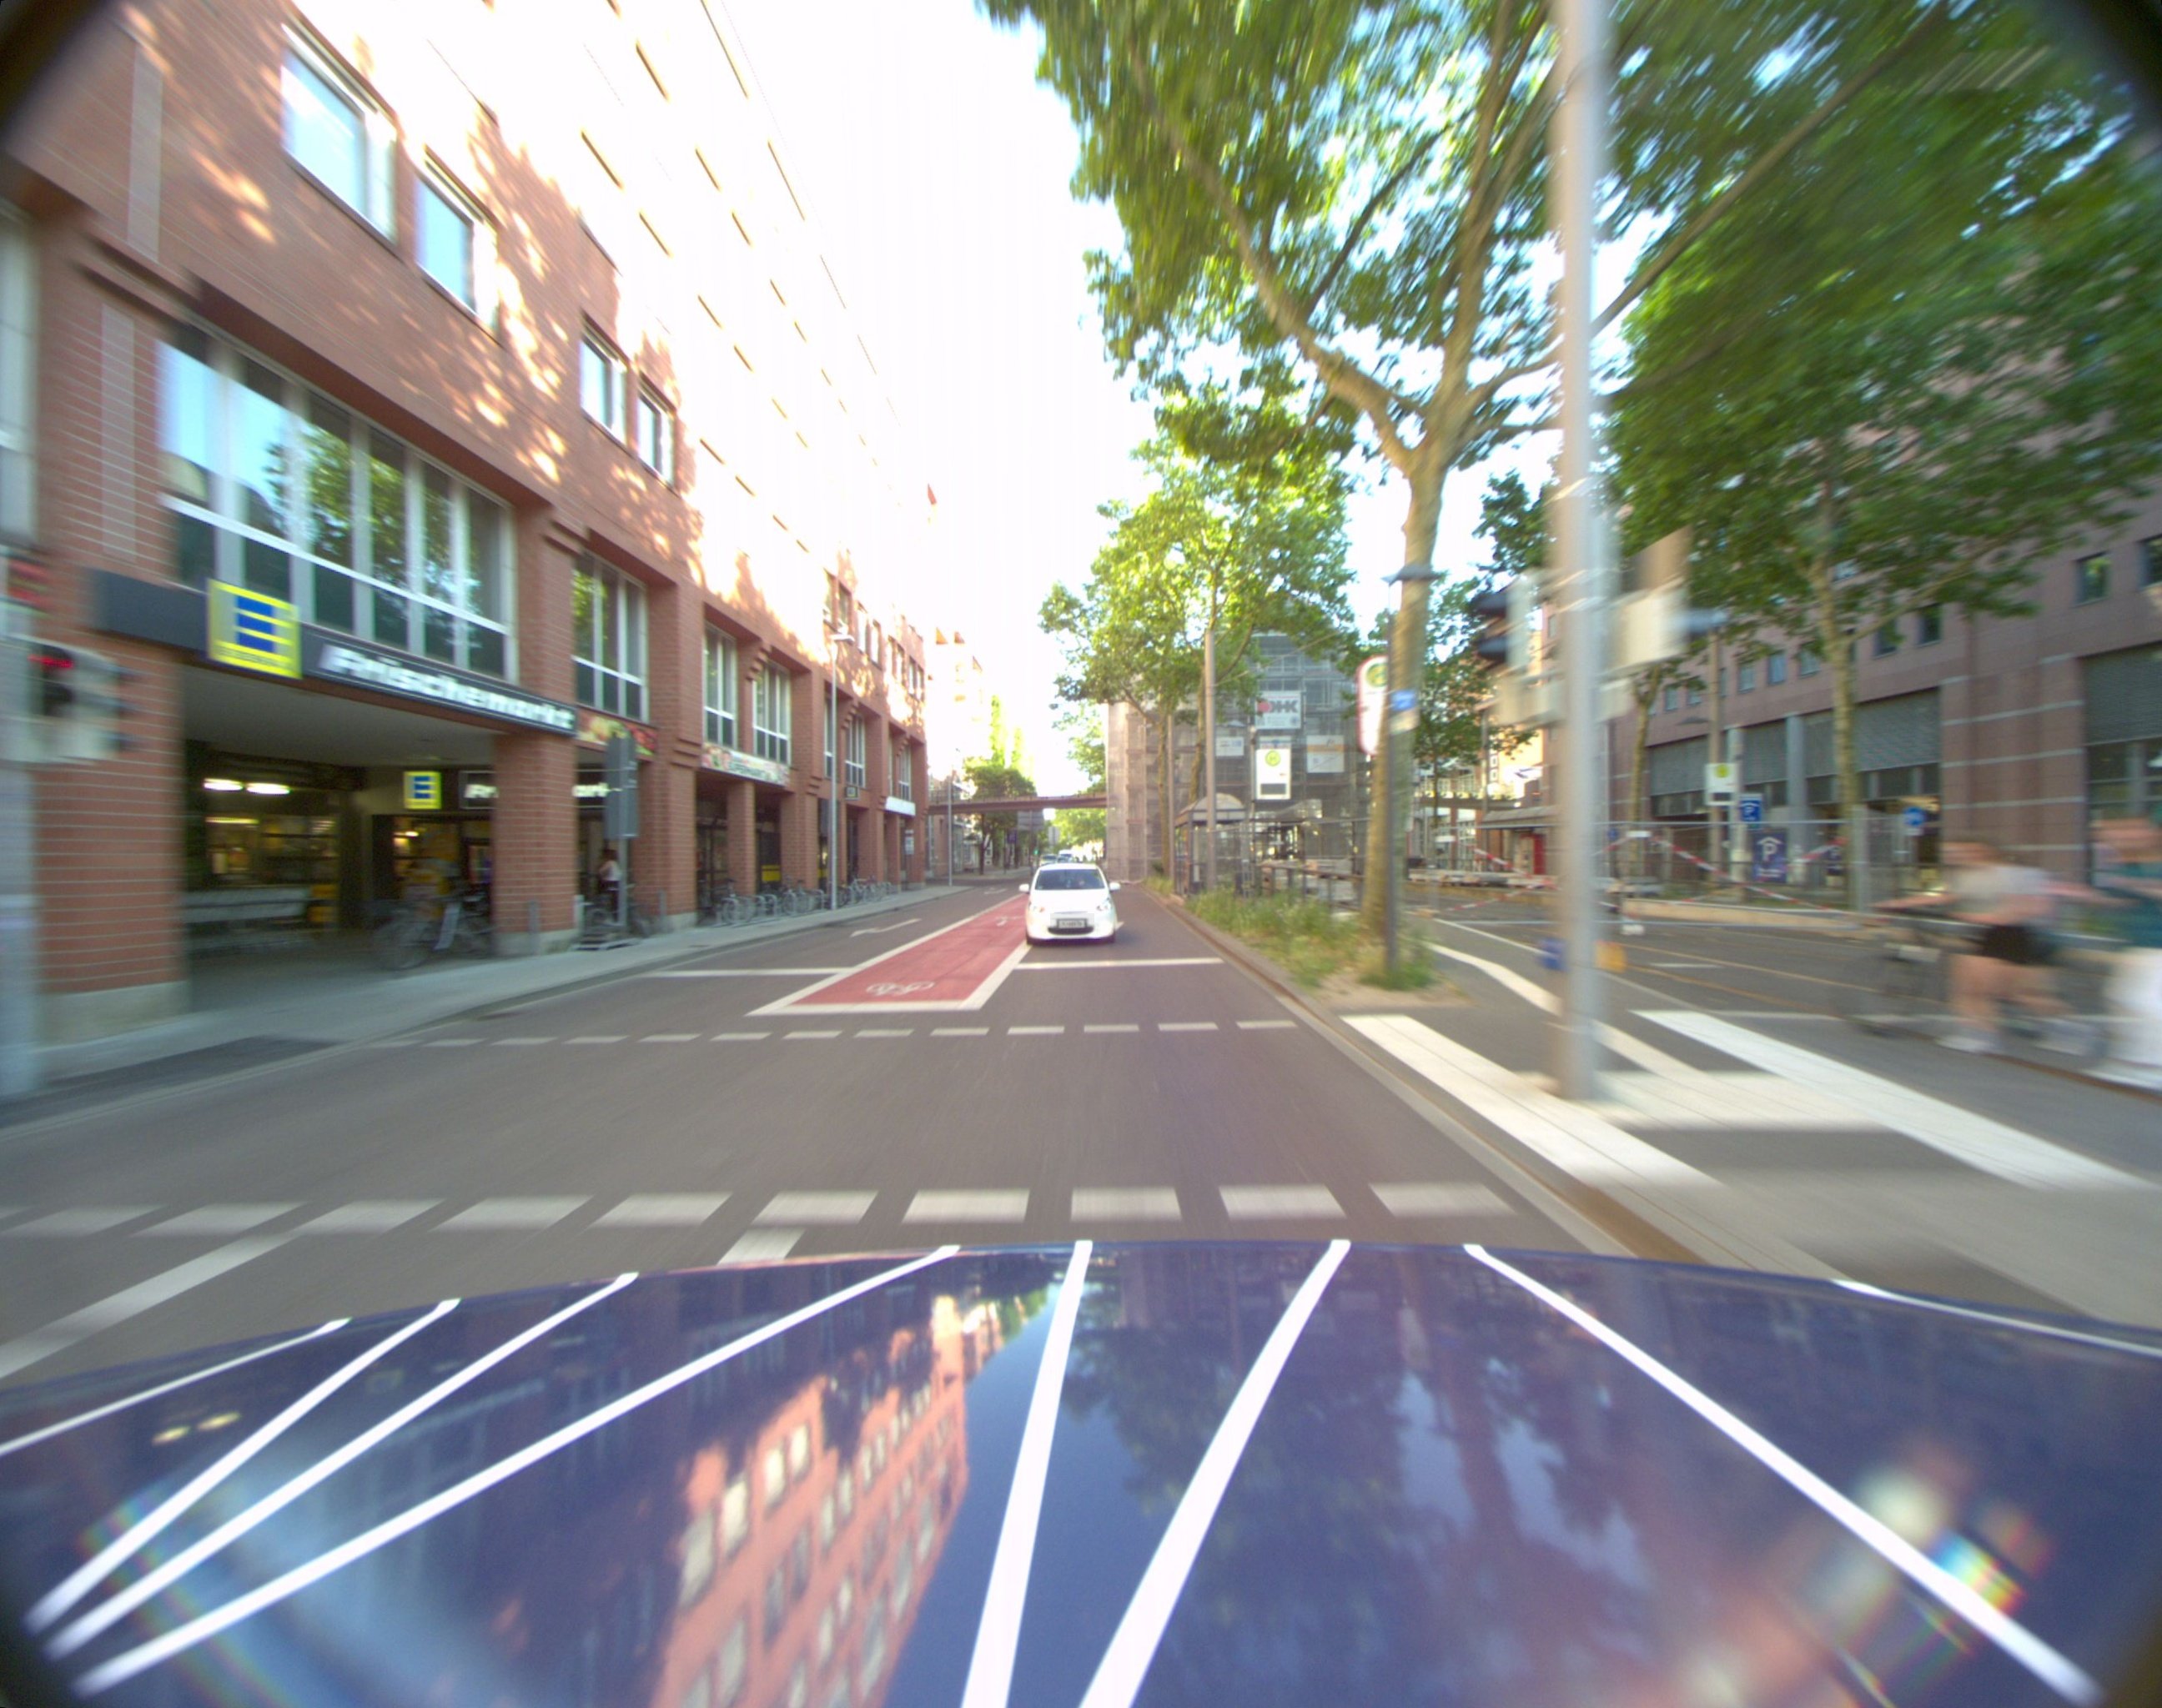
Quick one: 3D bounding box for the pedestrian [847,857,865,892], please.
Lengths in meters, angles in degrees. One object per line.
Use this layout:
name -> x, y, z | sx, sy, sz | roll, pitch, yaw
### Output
pedestrian -> -10.672, 0.955, 36.105 | 0.570, 1.624, 0.778 | -1, 1, 1

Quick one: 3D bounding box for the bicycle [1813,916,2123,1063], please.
bicycle -> 7.002, 1.056, 6.048 | 1.833, 1.072, 0.481 | 0, 1, 3

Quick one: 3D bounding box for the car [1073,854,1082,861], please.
car -> -0.740, 0.780, 175.046 | 1.998, 1.524, 4.000 | -2, 1, 1

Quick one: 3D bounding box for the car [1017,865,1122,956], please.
car -> -0.261, 1.008, 15.288 | 1.808, 1.492, 4.199 | -1, 0, -2

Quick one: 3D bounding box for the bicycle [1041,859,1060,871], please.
bicycle -> -2.724, 0.981, 67.863 | 1.678, 1.061, 0.502 | -1, 1, 36

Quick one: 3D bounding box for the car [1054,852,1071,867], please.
car -> -2.181, 0.598, 89.588 | 1.792, 1.660, 4.440 | -1, 0, 1

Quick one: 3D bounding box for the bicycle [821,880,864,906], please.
bicycle -> -8.313, 1.359, 26.462 | 1.337, 0.836, 0.425 | 2, 1, 3

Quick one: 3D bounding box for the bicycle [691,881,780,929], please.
bicycle -> -8.199, 1.197, 18.066 | 1.896, 1.112, 0.475 | 0, 1, 2

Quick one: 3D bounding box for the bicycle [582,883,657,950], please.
bicycle -> -8.935, 1.180, 14.780 | 0.340, 1.176, 1.678 | 0, 0, 3

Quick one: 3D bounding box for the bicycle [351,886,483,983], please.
bicycle -> -9.651, 1.123, 11.131 | 0.340, 1.248, 1.710 | 0, 0, 3

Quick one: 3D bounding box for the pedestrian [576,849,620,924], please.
pedestrian -> -11.616, 0.772, 18.296 | 0.660, 1.785, 0.609 | -1, 1, -3

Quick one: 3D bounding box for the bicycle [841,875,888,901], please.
bicycle -> -8.290, 1.299, 29.163 | 1.615, 0.949, 0.555 | 2, 1, 3

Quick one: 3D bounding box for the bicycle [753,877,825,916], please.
bicycle -> -8.556, 1.229, 22.315 | 1.896, 1.112, 0.550 | 0, 1, 2

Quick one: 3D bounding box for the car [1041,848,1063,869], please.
car -> -2.969, 0.406, 78.446 | 1.923, 2.066, 5.170 | -1, 0, 1

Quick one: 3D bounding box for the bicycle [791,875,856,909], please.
bicycle -> -8.530, 1.244, 25.210 | 1.937, 1.051, 0.573 | 1, 1, 5

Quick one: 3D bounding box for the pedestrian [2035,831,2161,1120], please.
pedestrian -> 6.830, 0.724, 4.706 | 0.779, 1.724, 0.848 | 0, 1, -1

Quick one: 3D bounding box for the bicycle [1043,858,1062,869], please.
bicycle -> -2.639, 0.881, 70.099 | 1.679, 1.061, 0.512 | -1, 1, 25

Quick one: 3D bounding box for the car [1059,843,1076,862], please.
car -> -1.885, -0.216, 106.968 | 2.120, 2.550, 5.905 | -1, 0, 2

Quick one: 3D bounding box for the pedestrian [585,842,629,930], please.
pedestrian -> -10.974, 0.728, 17.602 | 0.609, 2.002, 0.660 | -1, 1, -4

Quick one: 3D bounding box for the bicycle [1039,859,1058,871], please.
bicycle -> -2.897, 0.988, 67.082 | 1.678, 1.061, 0.502 | -1, 1, 36

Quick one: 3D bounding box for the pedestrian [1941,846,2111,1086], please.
pedestrian -> 6.869, 0.779, 5.551 | 0.567, 1.670, 0.531 | 0, 1, 3

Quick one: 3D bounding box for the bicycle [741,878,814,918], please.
bicycle -> -8.590, 1.233, 21.535 | 1.896, 1.112, 0.475 | 0, 1, 1
